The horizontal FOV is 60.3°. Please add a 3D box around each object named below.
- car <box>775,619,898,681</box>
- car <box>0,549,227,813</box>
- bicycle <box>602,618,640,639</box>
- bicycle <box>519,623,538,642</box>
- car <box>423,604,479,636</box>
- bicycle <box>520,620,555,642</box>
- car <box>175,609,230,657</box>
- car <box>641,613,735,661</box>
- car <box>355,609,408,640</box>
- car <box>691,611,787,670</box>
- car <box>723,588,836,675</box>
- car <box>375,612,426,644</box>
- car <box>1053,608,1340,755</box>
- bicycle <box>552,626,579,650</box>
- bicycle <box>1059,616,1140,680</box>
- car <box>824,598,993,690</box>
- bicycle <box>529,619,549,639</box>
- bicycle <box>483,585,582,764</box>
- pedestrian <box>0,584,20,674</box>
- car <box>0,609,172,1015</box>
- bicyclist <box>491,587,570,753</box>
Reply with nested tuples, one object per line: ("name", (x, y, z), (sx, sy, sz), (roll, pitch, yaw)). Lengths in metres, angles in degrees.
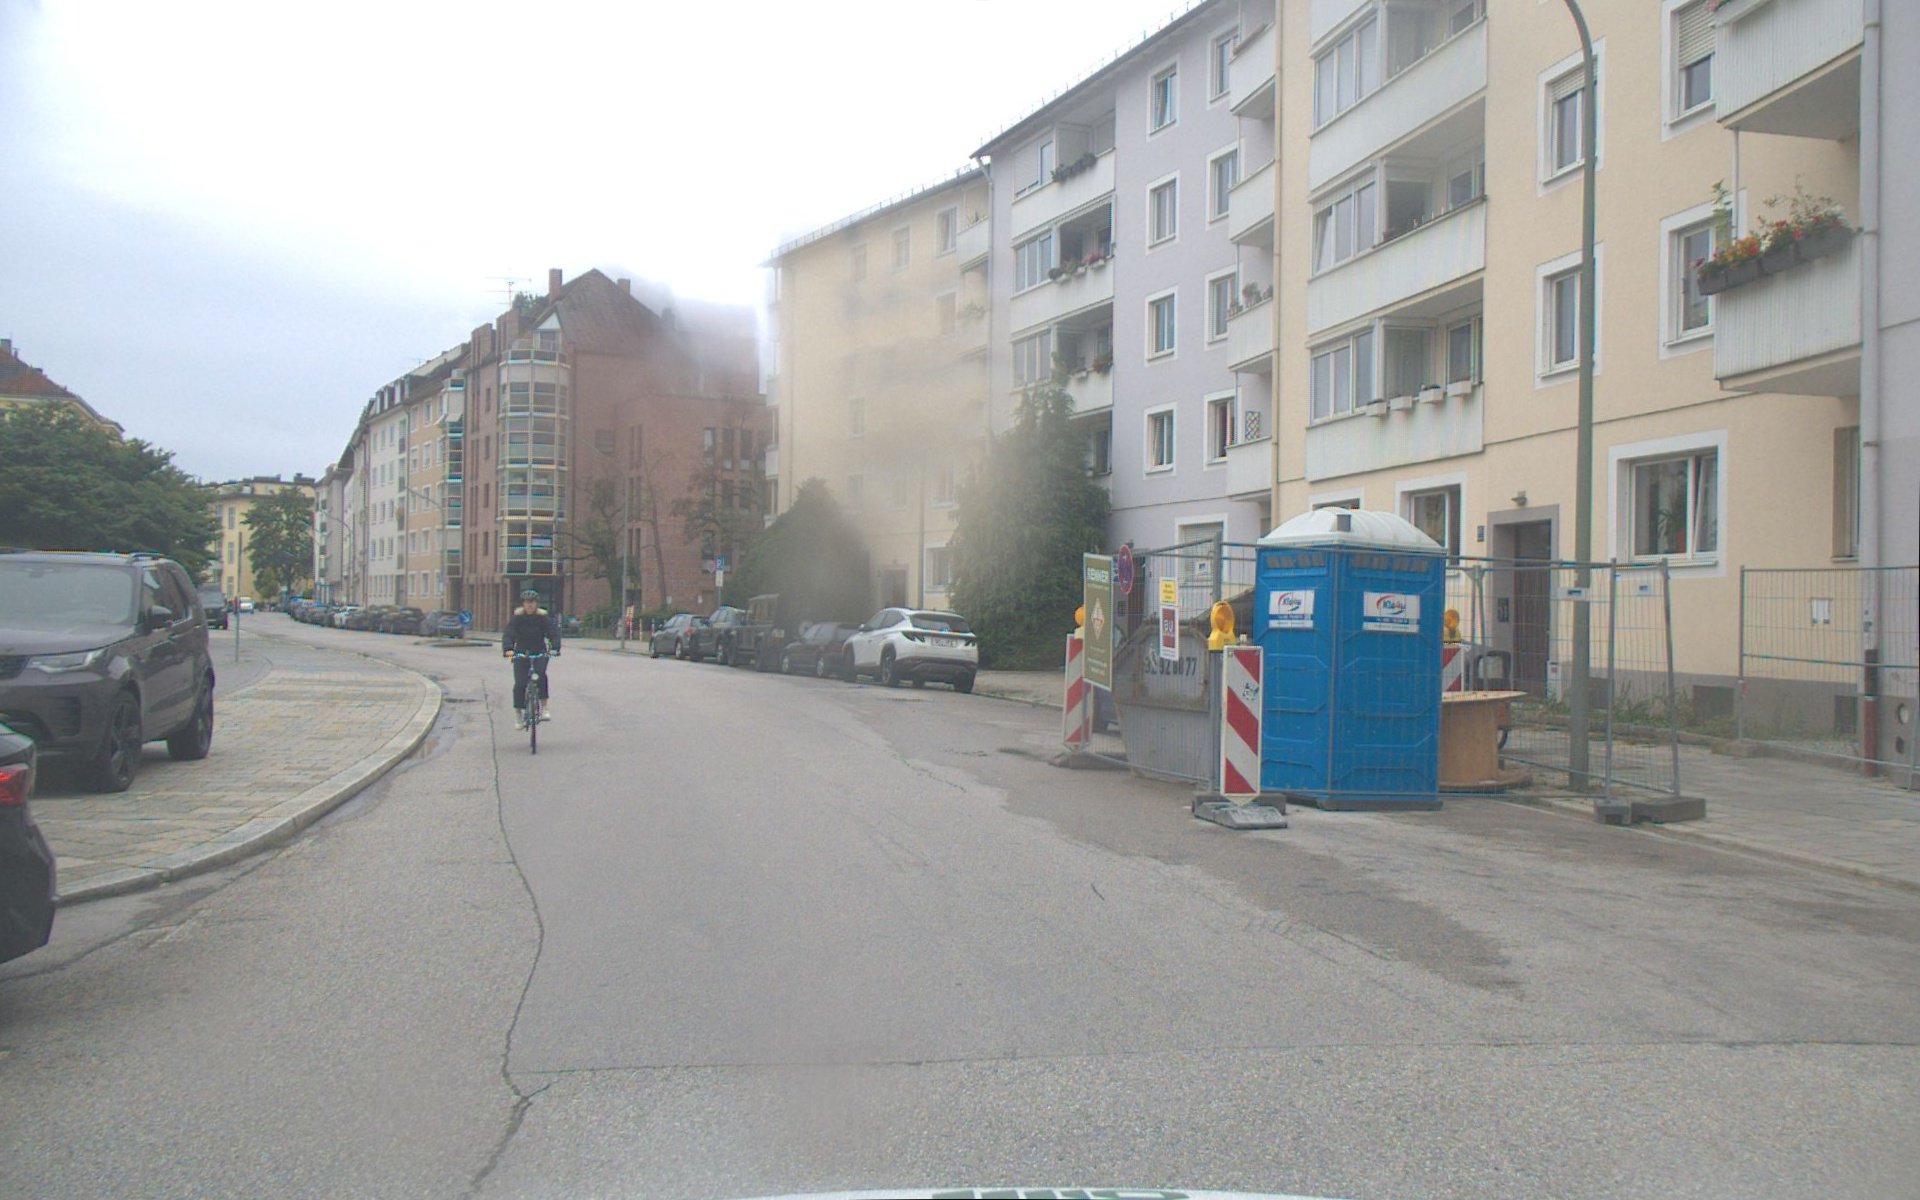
("car", (-3.002, 1.176, 39.631), (1.638, 1.373, 3.772), (3, -2, -26))
("car", (-7.502, 0.541, 13.532), (1.960, 1.803, 4.796), (1, 0, -15))
("bicycle", (-16.634, 1.396, 81.179), (1.682, 0.982, 0.541), (3, -1, -29))
("bicycle", (-24.649, 1.844, 94.461), (0.481, 1.078, 1.974), (3, -2, -31))
("car", (-26.379, 1.024, 85.625), (1.904, 1.539, 4.349), (3, -2, -29))
("bicycle", (-23.768, 1.764, 93.073), (1.823, 1.167, 0.484), (3, -1, -24))
("car", (-45.078, 1.955, 98.305), (2.397, 2.763, 5.891), (0, -1, -30))
("car", (-8.808, 1.189, 53.257), (1.735, 1.421, 4.005), (3, -2, -29))
("car", (-34.527, 1.461, 98.609), (1.946, 1.630, 4.619), (3, -1, -32))
("car", (-6.511, 1.151, 48.320), (1.636, 1.593, 4.483), (3, -2, -22))
("car", (-4.849, 0.794, 43.895), (1.723, 2.118, 4.485), (3, -1, -22))
("car", (-32.022, 1.577, 94.595), (1.813, 1.630, 4.218), (3, -1, -32))
("car", (2.666, 0.894, 19.874), (1.799, 1.467, 4.612), (3, -1, -14))
("bicycle", (-20.839, 2.009, 87.387), (0.529, 1.270, 2.383), (3, -3, -35))
("bicycle", (3.232, 1.099, 38.578), (0.733, 1.391, 2.452), (-2, 1, -24))
("car", (-1.167, 0.879, 34.719), (1.999, 1.707, 4.580), (3, -1, -23))
("bicycle", (-24.138, 1.638, 94.790), (0.481, 1.078, 1.974), (3, -1, -31))
("bicycle", (-4.623, 0.728, 18.073), (0.781, 1.752, 3.107), (-1, 1, -10))
("pedestrian", (-17.638, 0.515, 30.151), (0.595, 1.629, 0.641), (2, -1, 42))
("car", (-4.967, 0.781, 5.444), (3.973, 1.397, 1.723), (-1, 0, -42))
("bicyclist", (-4.658, 0.736, 17.988), (0.734, 1.747, 1.029), (0, 0, -10))
